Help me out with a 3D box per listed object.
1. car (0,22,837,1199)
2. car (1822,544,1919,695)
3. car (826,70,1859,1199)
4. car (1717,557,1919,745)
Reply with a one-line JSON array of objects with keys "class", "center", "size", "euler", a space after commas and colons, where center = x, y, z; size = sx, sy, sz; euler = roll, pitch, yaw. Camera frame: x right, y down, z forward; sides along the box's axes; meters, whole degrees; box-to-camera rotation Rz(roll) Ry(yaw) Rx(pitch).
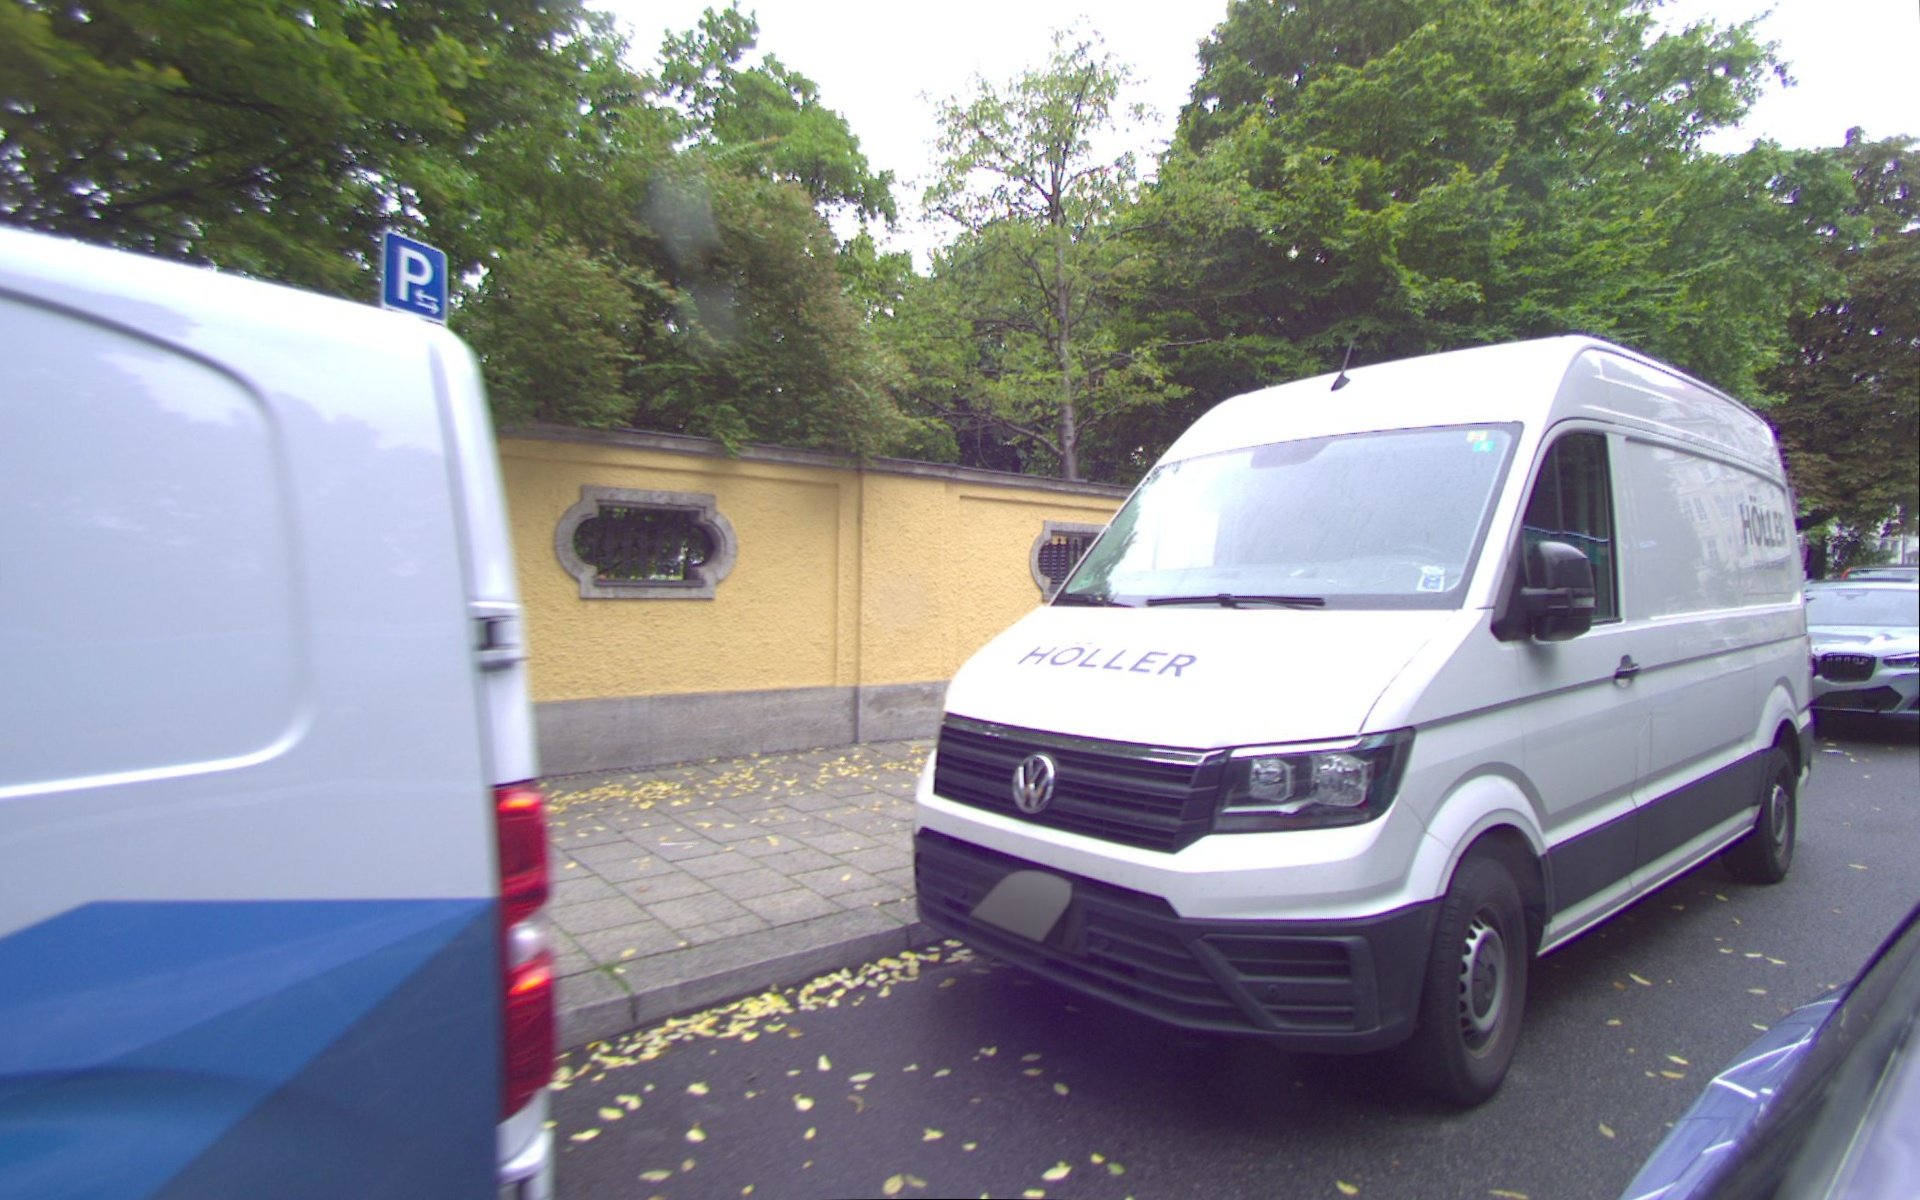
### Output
[{"class": "car", "center": [-2.710, 0.467, 0.504], "size": [5.077, 1.930, 2.016], "euler": [-1, 1, -43]}, {"class": "car", "center": [14.664, 0.246, 15.162], "size": [5.349, 1.992, 1.862], "euler": [0, 2, -41]}, {"class": "car", "center": [2.313, 0.083, 4.746], "size": [5.640, 2.518, 2.099], "euler": [-2, 3, -41]}, {"class": "car", "center": [10.304, 0.453, 11.434], "size": [4.521, 1.763, 1.862], "euler": [-1, 1, -40]}]
